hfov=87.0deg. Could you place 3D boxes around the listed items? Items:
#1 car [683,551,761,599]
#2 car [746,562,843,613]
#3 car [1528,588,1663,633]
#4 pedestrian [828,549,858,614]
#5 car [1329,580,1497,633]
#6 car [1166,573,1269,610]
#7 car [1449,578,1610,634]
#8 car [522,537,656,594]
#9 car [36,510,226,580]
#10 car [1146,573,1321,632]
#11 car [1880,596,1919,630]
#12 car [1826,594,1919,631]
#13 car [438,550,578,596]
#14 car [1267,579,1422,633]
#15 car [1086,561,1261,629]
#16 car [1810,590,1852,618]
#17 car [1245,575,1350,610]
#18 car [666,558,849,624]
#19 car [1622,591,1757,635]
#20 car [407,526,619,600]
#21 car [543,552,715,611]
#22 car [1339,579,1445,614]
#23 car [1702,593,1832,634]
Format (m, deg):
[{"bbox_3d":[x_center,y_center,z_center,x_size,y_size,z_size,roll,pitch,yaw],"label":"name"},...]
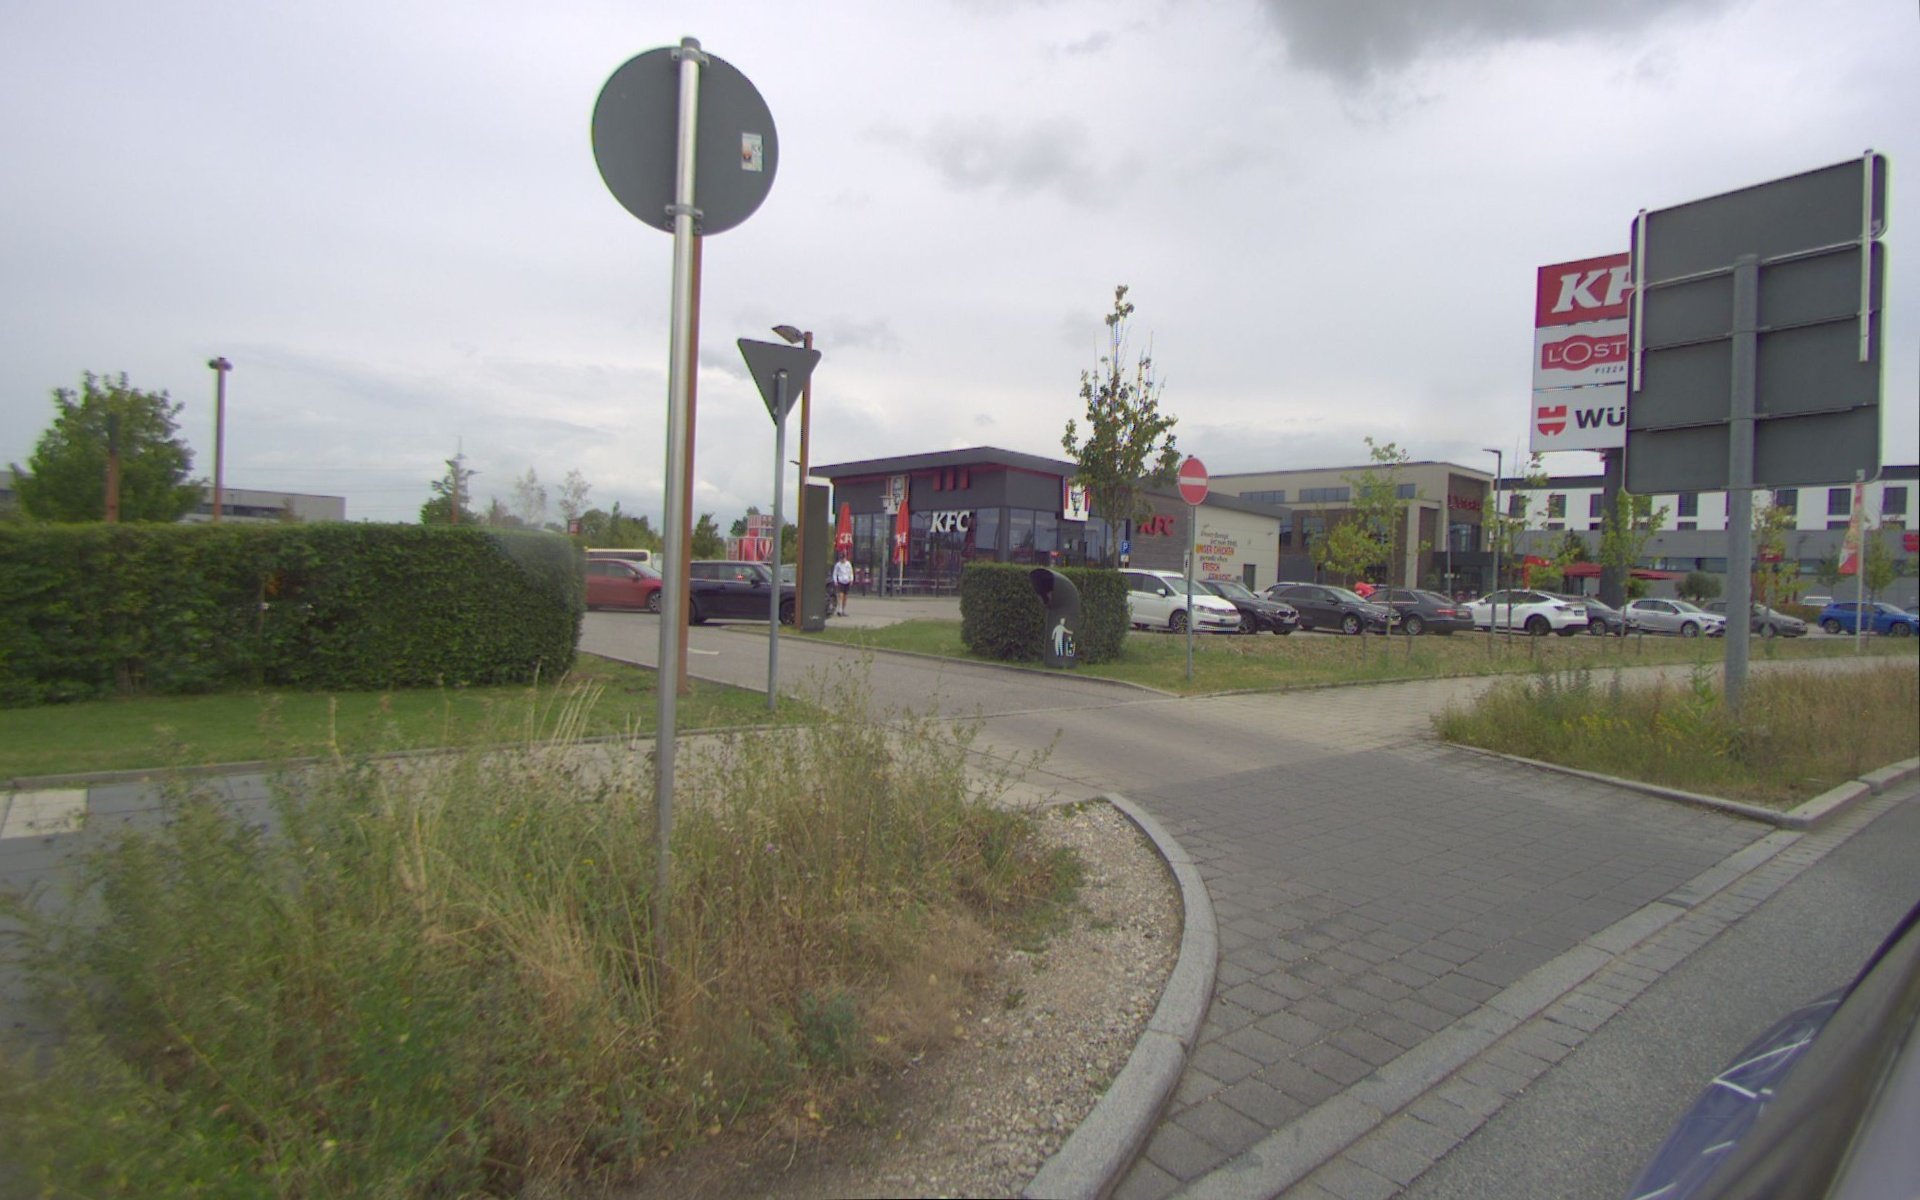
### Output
[{"bbox_3d":[-9.434,-1.052,40.472,1.969,1.723,4.377,2,3,2],"label":"car"},{"bbox_3d":[-4.614,-0.342,28.551,1.504,1.326,3.074,1,1,16],"label":"car"},{"bbox_3d":[24.393,0.374,39.011,1.900,1.503,4.008,0,2,-25],"label":"car"},{"bbox_3d":[-3.328,-0.538,28.859,0.467,1.828,0.793,2,1,27],"label":"pedestrian"},{"bbox_3d":[14.429,0.181,32.503,1.992,1.487,4.535,1,1,-33],"label":"car"},{"bbox_3d":[12.164,-0.445,47.963,2.011,1.537,4.374,1,2,-40],"label":"car"},{"bbox_3d":[20.264,0.169,36.219,2.046,1.665,4.584,1,3,-29],"label":"car"},{"bbox_3d":[-17.290,-1.565,47.179,5.574,2.380,2.540,1,1,-26],"label":"car"},{"bbox_3d":[-33.542,-2.142,41.248,2.244,2.560,6.033,2,1,9],"label":"car"},{"bbox_3d":[7.650,0.039,28.717,2.035,1.454,4.482,1,1,-36],"label":"car"},{"bbox_3d":[44.866,0.638,46.016,1.940,1.512,4.009,1,1,-17],"label":"car"},{"bbox_3d":[42.269,0.563,45.788,1.924,1.539,4.286,1,1,-19],"label":"car"},{"bbox_3d":[-16.026,-0.957,36.013,4.141,1.461,1.955,2,1,2],"label":"car"},{"bbox_3d":[11.792,0.149,31.254,1.906,1.456,4.098,1,2,-35],"label":"car"},{"bbox_3d":[5.658,-0.174,27.254,1.902,1.660,4.358,1,1,-39],"label":"car"},{"bbox_3d":[57.495,0.256,66.763,1.993,1.718,4.719,2,1,42],"label":"car"},{"bbox_3d":[16.804,-0.387,50.569,2.043,1.537,4.575,1,2,-38],"label":"car"},{"bbox_3d":[-4.502,-0.216,22.930,3.775,1.329,1.818,2,1,-1],"label":"car"},{"bbox_3d":[29.024,0.487,40.394,1.862,1.499,3.883,1,3,-23],"label":"car"},{"bbox_3d":[-17.209,-1.404,39.173,7.191,2.533,2.281,2,1,2],"label":"car"},{"bbox_3d":[-9.128,-0.518,28.148,4.081,1.447,2.004,2,1,6],"label":"car"},{"bbox_3d":[21.973,-0.215,51.623,1.942,1.537,4.572,1,2,-40],"label":"car"},{"bbox_3d":[33.443,0.523,42.034,1.850,1.512,3.779,1,1,-22],"label":"car"}]
